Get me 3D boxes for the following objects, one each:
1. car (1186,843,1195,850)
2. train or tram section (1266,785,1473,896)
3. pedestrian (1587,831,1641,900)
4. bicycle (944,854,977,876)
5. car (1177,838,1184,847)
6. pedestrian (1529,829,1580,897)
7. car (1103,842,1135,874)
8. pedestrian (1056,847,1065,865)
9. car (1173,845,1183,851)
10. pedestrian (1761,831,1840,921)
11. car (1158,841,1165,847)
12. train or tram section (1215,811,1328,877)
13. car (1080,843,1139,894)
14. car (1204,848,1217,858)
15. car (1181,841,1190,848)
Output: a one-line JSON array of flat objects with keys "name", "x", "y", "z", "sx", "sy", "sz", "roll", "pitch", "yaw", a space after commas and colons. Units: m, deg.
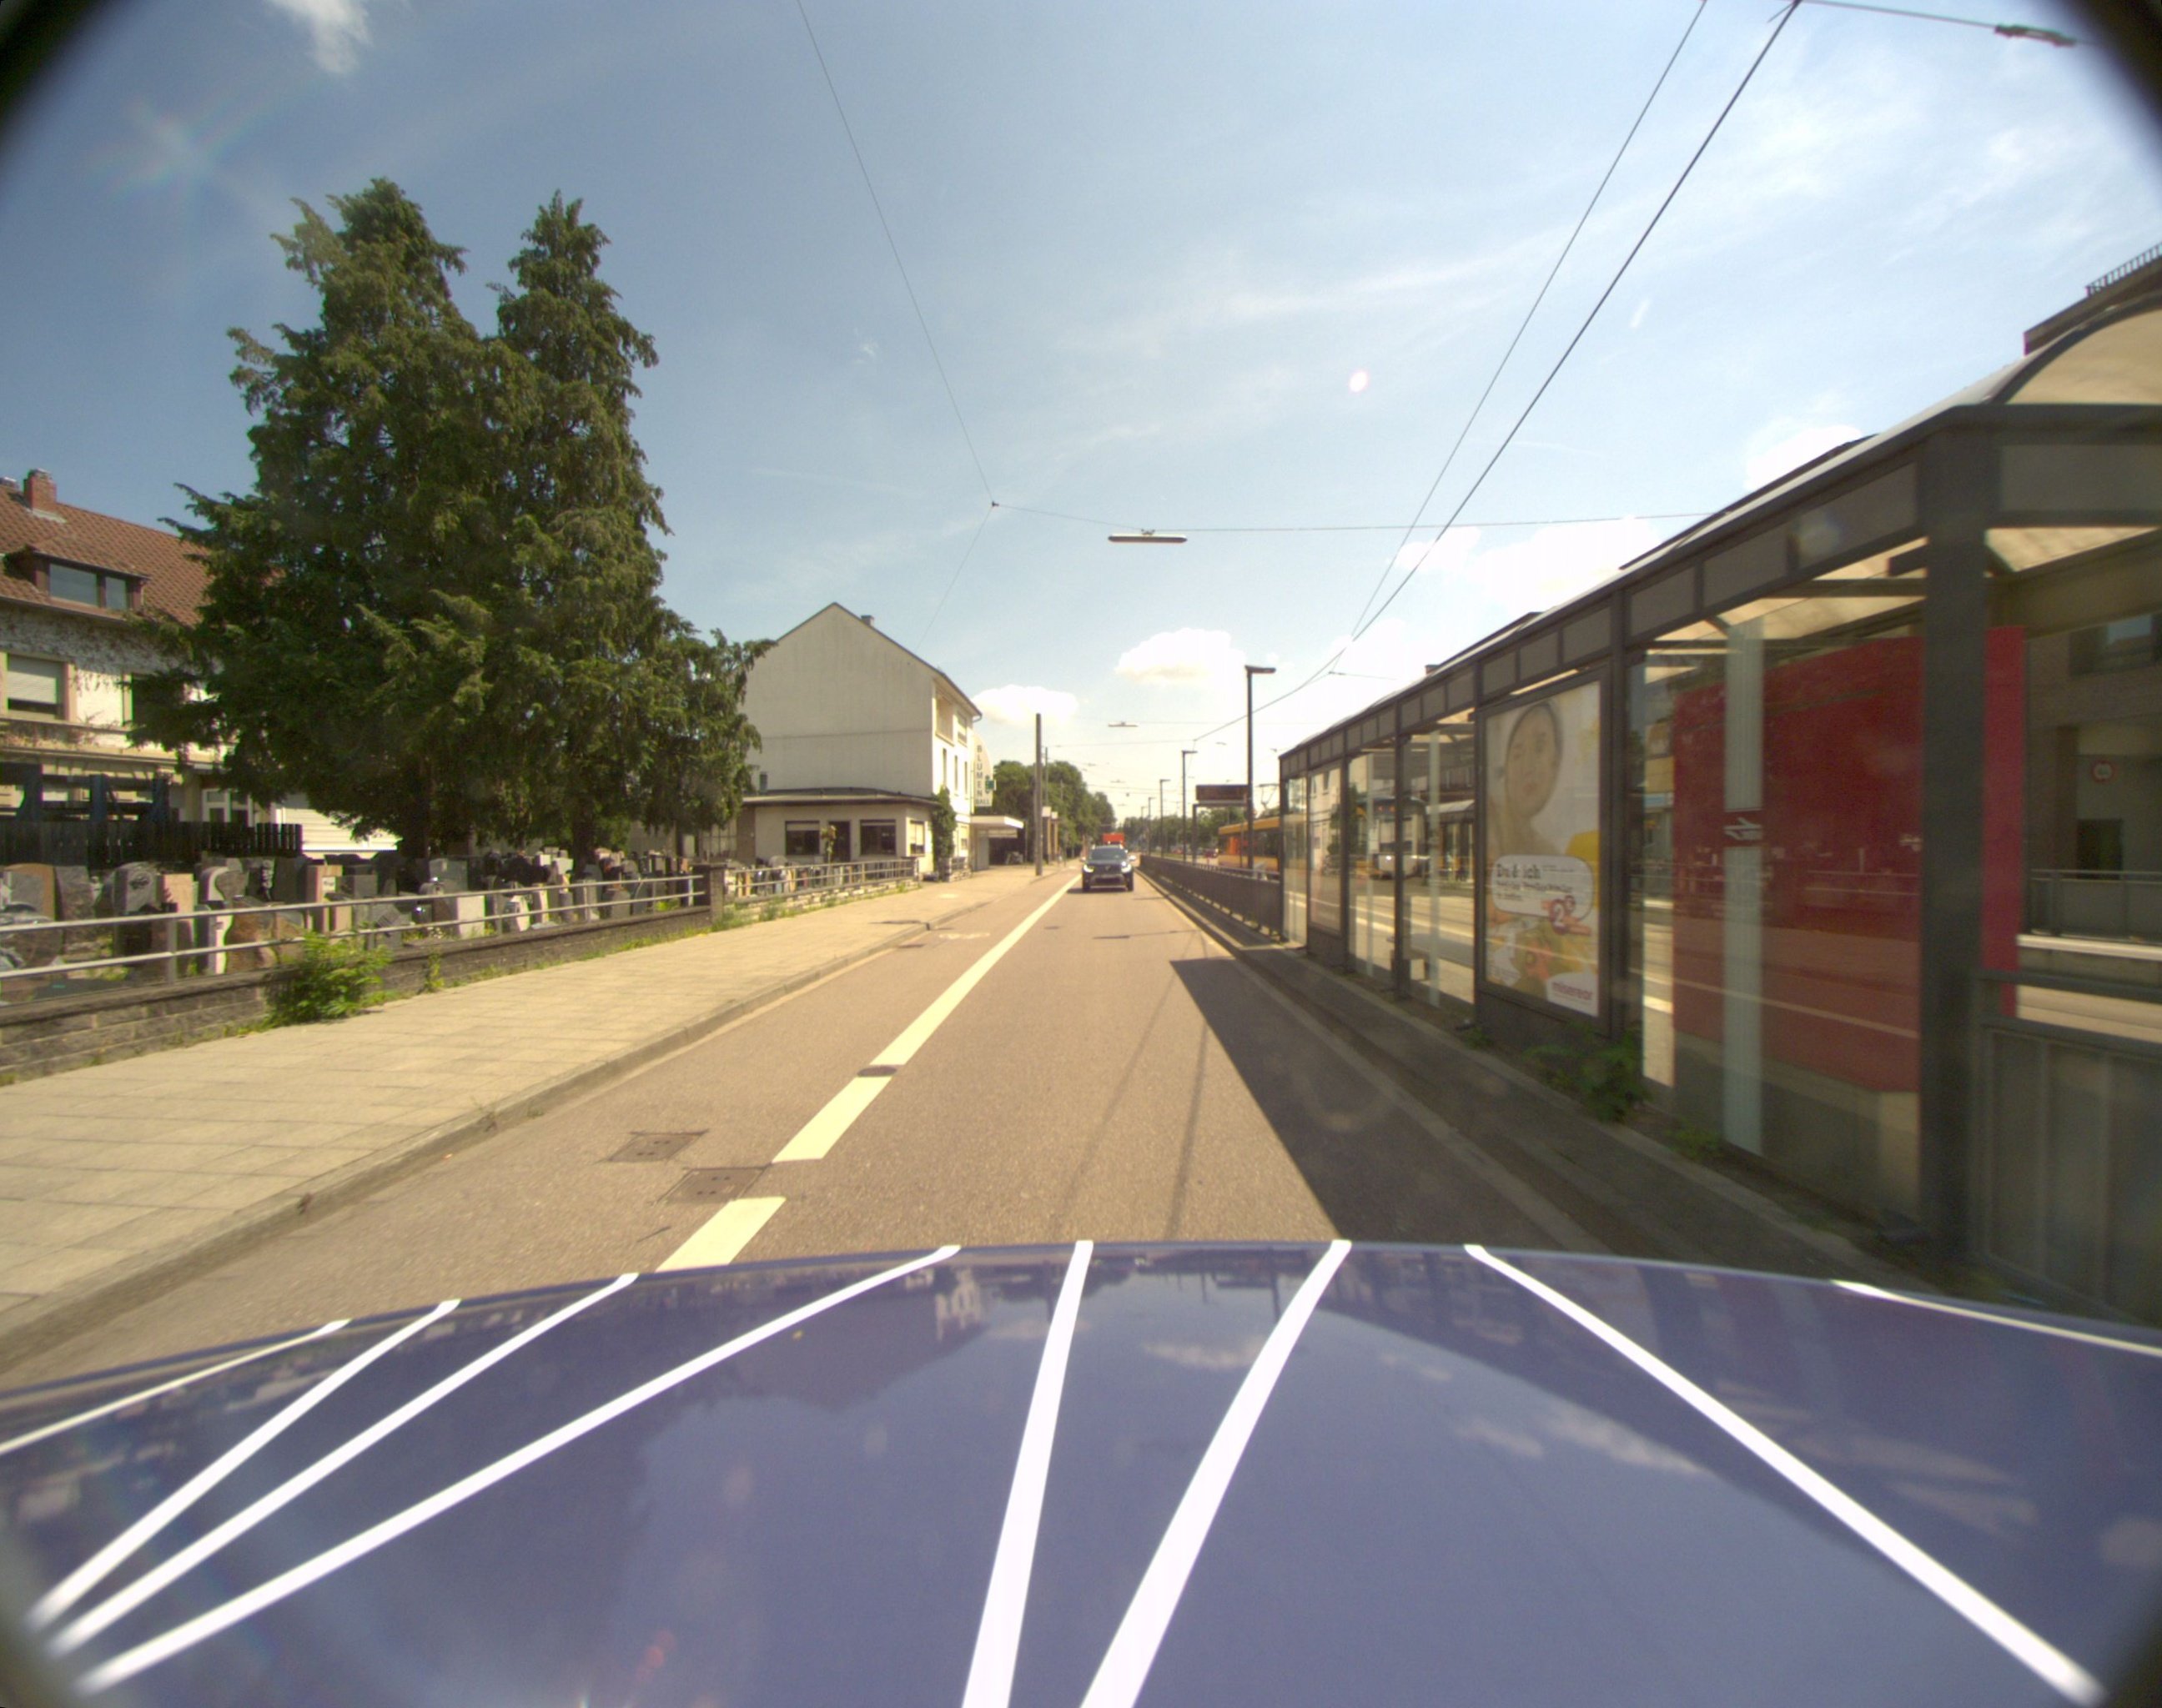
[{"name": "car", "x": 27.767, "y": -1.931, "z": 191.976, "sx": 1.744, "sy": 1.587, "sz": 4.000, "roll": 0, "pitch": 1, "yaw": 1}, {"name": "train or tram section", "x": 11.253, "y": -0.564, "z": 32.574, "sx": 3.242, "sy": 3.547, "sz": 16.349, "roll": 0, "pitch": 1, "yaw": 2}, {"name": "pedestrian", "x": 13.451, "y": 0.280, "z": 19.188, "sx": 0.762, "sy": 1.685, "sz": 0.809, "roll": 0, "pitch": 1, "yaw": 1}, {"name": "bicycle", "x": -6.034, "y": 0.557, "z": 38.153, "sx": 1.535, "sy": 1.080, "sz": 0.430, "roll": 2, "pitch": 1, "yaw": 8}, {"name": "car", "x": 28.657, "y": -3.349, "z": 219.036, "sx": 1.744, "sy": 2.573, "sz": 4.000, "roll": 0, "pitch": 1, "yaw": 1}, {"name": "pedestrian", "x": 12.665, "y": 0.231, "z": 20.356, "sx": 0.762, "sy": 1.789, "sz": 0.952, "roll": 0, "pitch": 1, "yaw": 1}, {"name": "car", "x": 2.483, "y": 0.231, "z": 48.961, "sx": 1.998, "sy": 2.002, "sz": 4.000, "roll": 0, "pitch": 1, "yaw": 4}, {"name": "pedestrian", "x": -1.837, "y": 0.179, "z": 69.637, "sx": 0.563, "sy": 1.656, "sz": 0.683, "roll": 1, "pitch": 2, "yaw": 25}, {"name": "car", "x": 22.807, "y": -1.354, "z": 178.661, "sx": 1.998, "sy": 1.441, "sz": 4.822, "roll": -1, "pitch": 1, "yaw": 3}, {"name": "pedestrian", "x": 13.112, "y": 0.391, "z": 13.867, "sx": 0.687, "sy": 1.587, "sz": 0.761, "roll": 0, "pitch": 1, "yaw": 1}, {"name": "car", "x": 25.763, "y": -3.082, "z": 242.676, "sx": 1.863, "sy": 1.865, "sz": 4.554, "roll": 0, "pitch": 1, "yaw": -1}, {"name": "train or tram section", "x": 12.029, "y": -0.705, "z": 51.022, "sx": 3.258, "sy": 3.547, "sz": 20.500, "roll": 0, "pitch": 1, "yaw": 2}, {"name": "car", "x": 1.009, "y": 0.437, "z": 26.447, "sx": 1.845, "sy": 1.565, "sz": 4.487, "roll": -2, "pitch": 1, "yaw": 3}, {"name": "car", "x": 21.726, "y": -0.177, "z": 127.586, "sx": 1.658, "sy": 1.436, "sz": 3.853, "roll": 1, "pitch": 1, "yaw": 3}, {"name": "car", "x": 28.058, "y": -2.508, "z": 203.410, "sx": 1.966, "sy": 1.953, "sz": 4.000, "roll": 0, "pitch": 1, "yaw": 1}]
